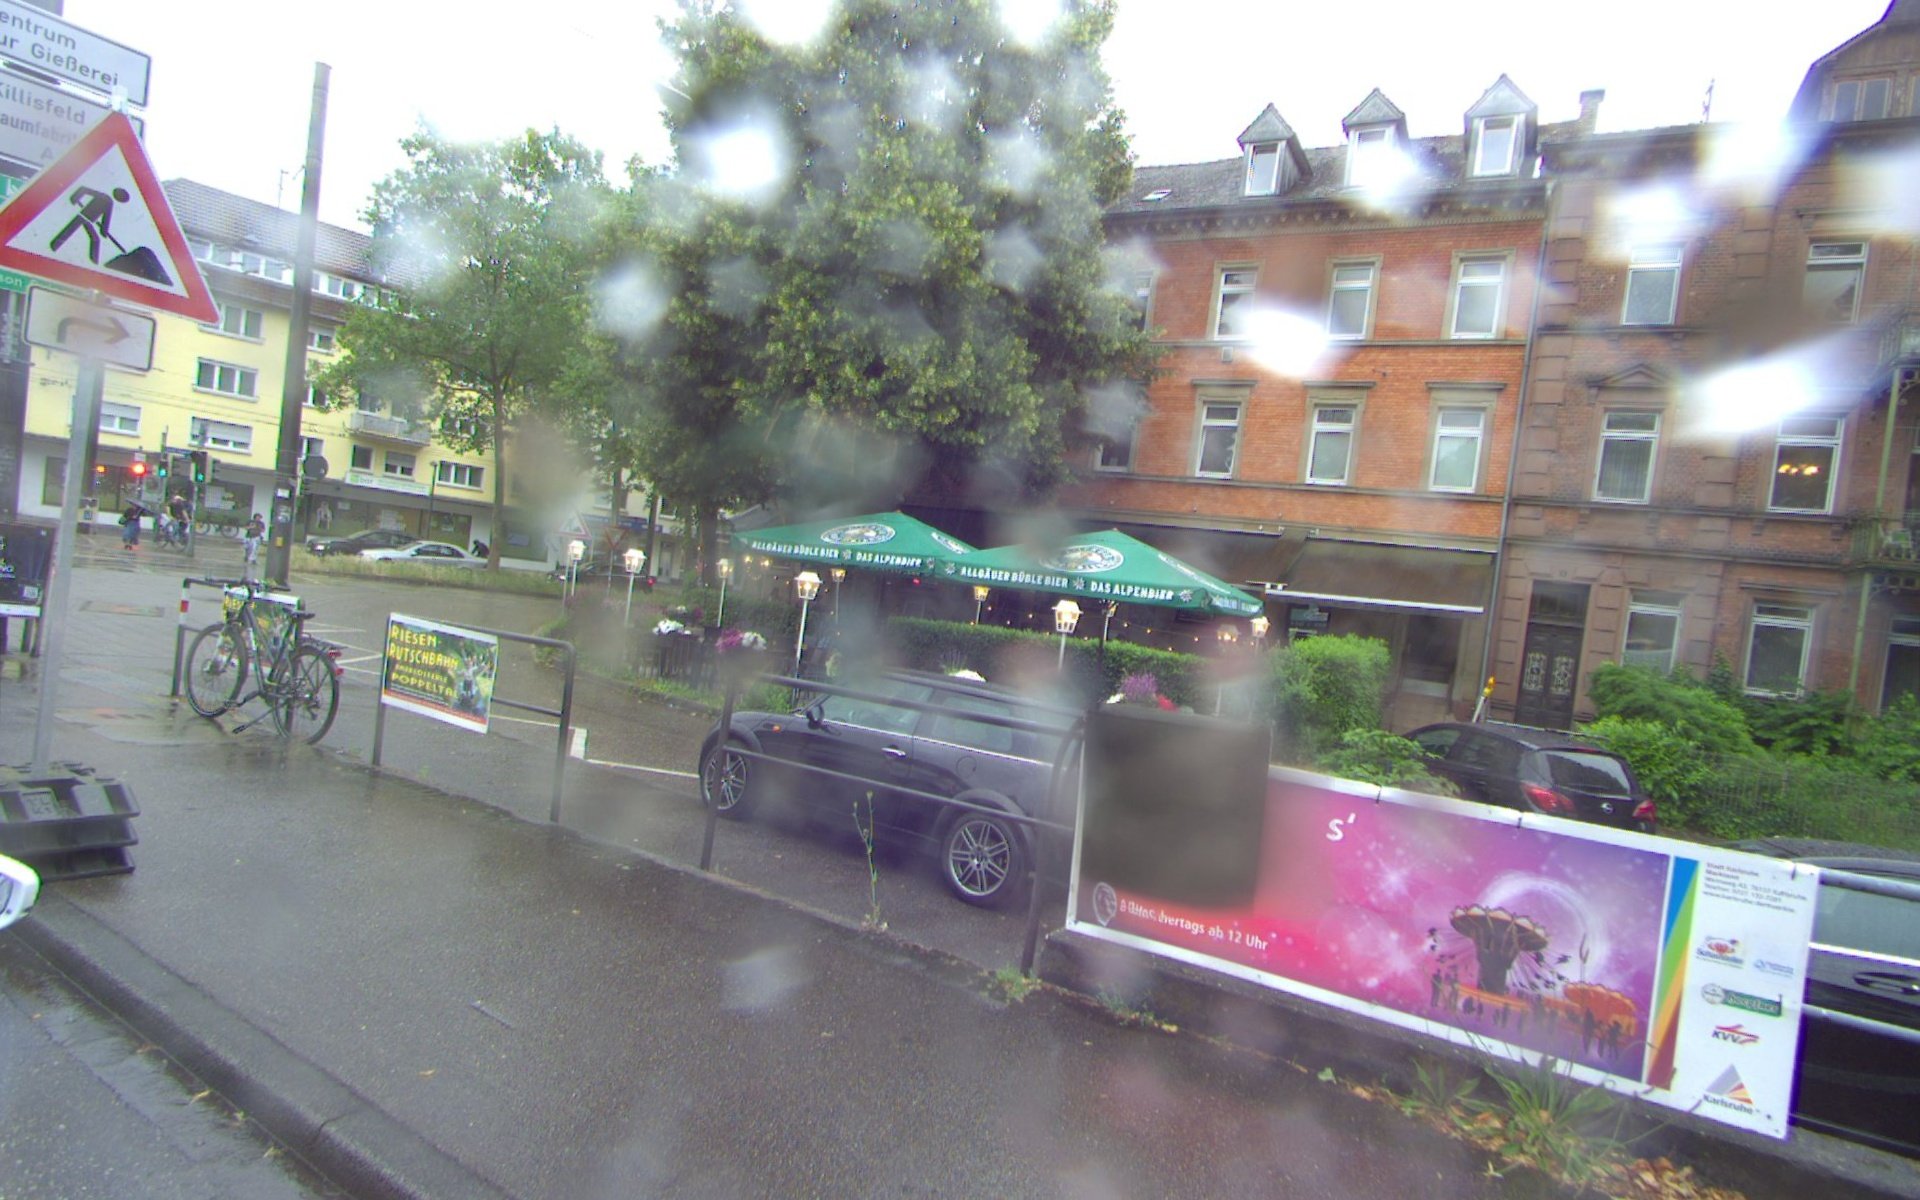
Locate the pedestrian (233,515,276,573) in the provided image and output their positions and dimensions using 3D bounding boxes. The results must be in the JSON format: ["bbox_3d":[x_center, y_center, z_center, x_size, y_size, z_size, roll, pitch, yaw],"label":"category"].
[{"bbox_3d":[-22.348,-1.765,31.889,0.898,1.689,1.011,7,-1,-32],"label":"pedestrian"}]

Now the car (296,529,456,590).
[{"bbox_3d":[-22.444,-1.524,38.818,1.975,1.661,4.928,3,-4,43],"label":"car"}]

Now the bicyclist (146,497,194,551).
[{"bbox_3d":[-25.983,-2.491,33.099,0.846,1.602,0.879,7,-1,34],"label":"bicyclist"}]

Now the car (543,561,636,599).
[{"bbox_3d":[-15.521,-0.824,42.269,1.227,1.095,3.531,7,-2,34],"label":"car"}]

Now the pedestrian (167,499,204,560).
[{"bbox_3d":[-27.572,-2.490,35.820,0.790,2.038,0.853,7,0,-33],"label":"pedestrian"}]

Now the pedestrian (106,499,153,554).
[{"bbox_3d":[-25.398,-2.230,30.766,0.612,1.552,0.816,7,0,-6],"label":"pedestrian"}]

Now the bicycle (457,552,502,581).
[{"bbox_3d":[-19.979,-1.380,41.840,0.415,1.013,1.640,7,-1,33],"label":"bicycle"}]

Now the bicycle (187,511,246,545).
[{"bbox_3d":[-35.601,-3.439,48.191,2.096,1.277,0.525,8,0,-44],"label":"bicycle"}]

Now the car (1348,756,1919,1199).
[{"bbox_3d":[4.193,1.856,4.955,3.907,1.416,1.706,7,-1,32],"label":"car"}]

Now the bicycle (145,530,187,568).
[{"bbox_3d":[-26.174,-1.685,33.157,1.871,1.040,0.459,8,1,34],"label":"bicycle"}]

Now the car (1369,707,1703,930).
[{"bbox_3d":[6.679,2.433,12.273,1.962,1.733,4.004,7,-1,7],"label":"car"}]

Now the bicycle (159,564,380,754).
[{"bbox_3d":[-5.177,0.403,7.493,1.984,1.119,0.515,7,-3,33],"label":"bicycle"}]

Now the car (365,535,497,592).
[{"bbox_3d":[-19.620,-1.333,37.377,3.926,1.508,1.784,8,0,-43],"label":"car"}]

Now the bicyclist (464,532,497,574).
[{"bbox_3d":[-19.934,-1.951,41.810,0.699,1.634,0.815,7,0,33],"label":"bicyclist"}]

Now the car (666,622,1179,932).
[{"bbox_3d":[-0.351,1.215,7.796,3.468,1.457,1.710,8,-3,34],"label":"car"}]
